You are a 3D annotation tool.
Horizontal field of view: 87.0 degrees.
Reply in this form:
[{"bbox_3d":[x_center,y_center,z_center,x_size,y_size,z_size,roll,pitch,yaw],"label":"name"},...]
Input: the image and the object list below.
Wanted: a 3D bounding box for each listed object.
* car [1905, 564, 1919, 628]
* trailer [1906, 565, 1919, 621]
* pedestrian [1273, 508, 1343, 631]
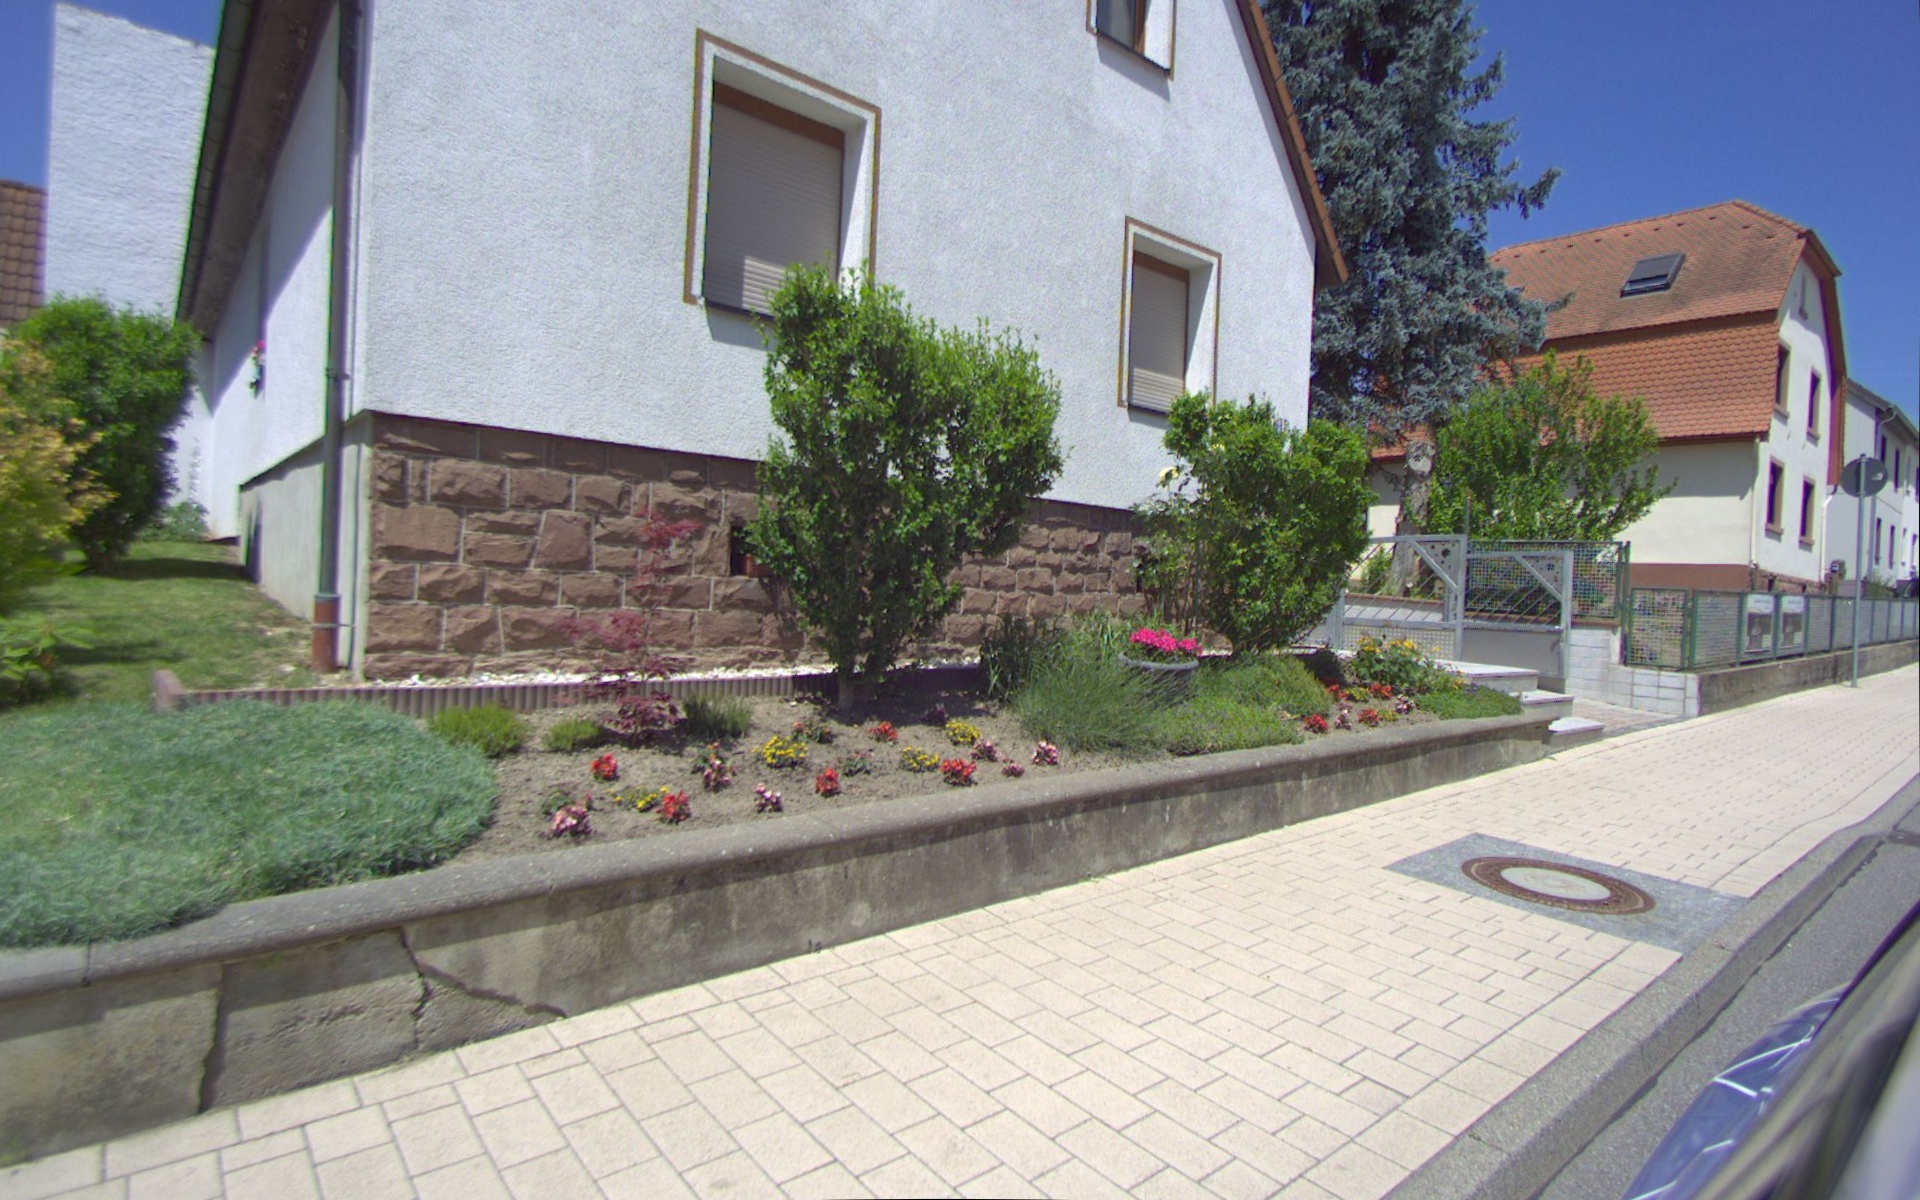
[{"bbox_3d":[32.507,-0.037,32.875,4.688,1.993,1.859,0,7,-40],"label":"car"},{"bbox_3d":[36.098,-0.250,36.732,2.232,2.039,1.323,0,0,3],"label":"trailer"},{"bbox_3d":[4.805,-0.424,13.984,0.542,1.634,0.606,0,5,-40],"label":"pedestrian"}]
